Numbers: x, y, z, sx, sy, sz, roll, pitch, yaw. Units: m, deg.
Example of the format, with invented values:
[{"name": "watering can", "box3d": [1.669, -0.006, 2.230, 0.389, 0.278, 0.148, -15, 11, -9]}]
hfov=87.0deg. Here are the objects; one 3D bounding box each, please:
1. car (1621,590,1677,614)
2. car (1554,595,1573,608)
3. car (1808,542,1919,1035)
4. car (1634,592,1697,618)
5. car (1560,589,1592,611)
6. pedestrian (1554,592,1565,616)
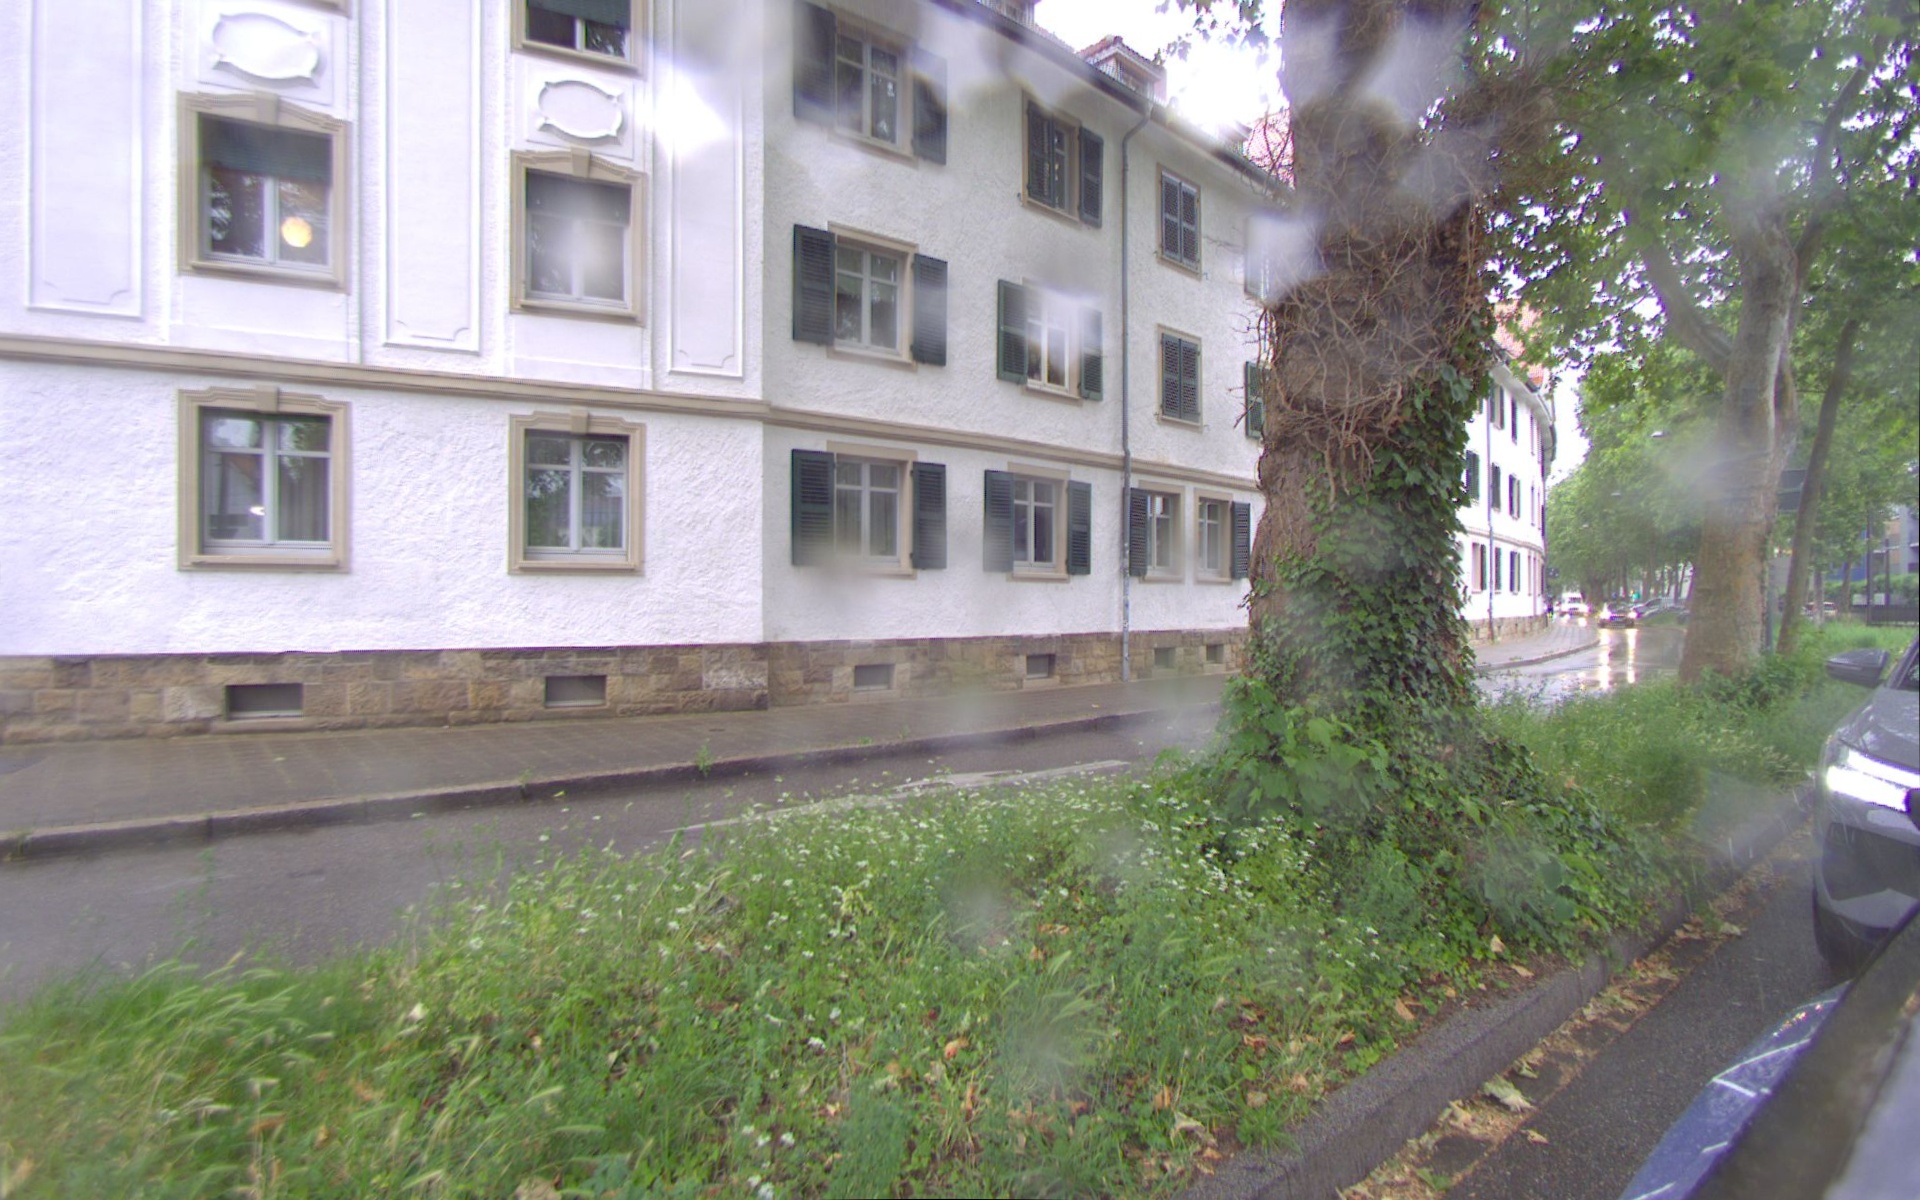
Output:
[{"name": "car", "box3d": [60.770, 0.151, 89.291, 3.969, 2.039, 1.977, 0, -1, 32]}, {"name": "car", "box3d": [74.653, 0.215, 125.189, 1.816, 1.545, 3.959, 0, 1, 29]}, {"name": "car", "box3d": [5.148, 0.626, 4.316, 4.039, 1.662, 1.913, 0, 0, -44]}, {"name": "car", "box3d": [55.907, 0.379, 80.306, 3.969, 2.039, 1.977, 0, -1, 32]}, {"name": "car", "box3d": [64.334, 0.011, 105.721, 2.173, 2.292, 5.367, 0, 0, 24]}, {"name": "pedestrian", "box3d": [46.489, 0.290, 78.473, 0.668, 1.845, 0.672, 0, 0, 31]}]
